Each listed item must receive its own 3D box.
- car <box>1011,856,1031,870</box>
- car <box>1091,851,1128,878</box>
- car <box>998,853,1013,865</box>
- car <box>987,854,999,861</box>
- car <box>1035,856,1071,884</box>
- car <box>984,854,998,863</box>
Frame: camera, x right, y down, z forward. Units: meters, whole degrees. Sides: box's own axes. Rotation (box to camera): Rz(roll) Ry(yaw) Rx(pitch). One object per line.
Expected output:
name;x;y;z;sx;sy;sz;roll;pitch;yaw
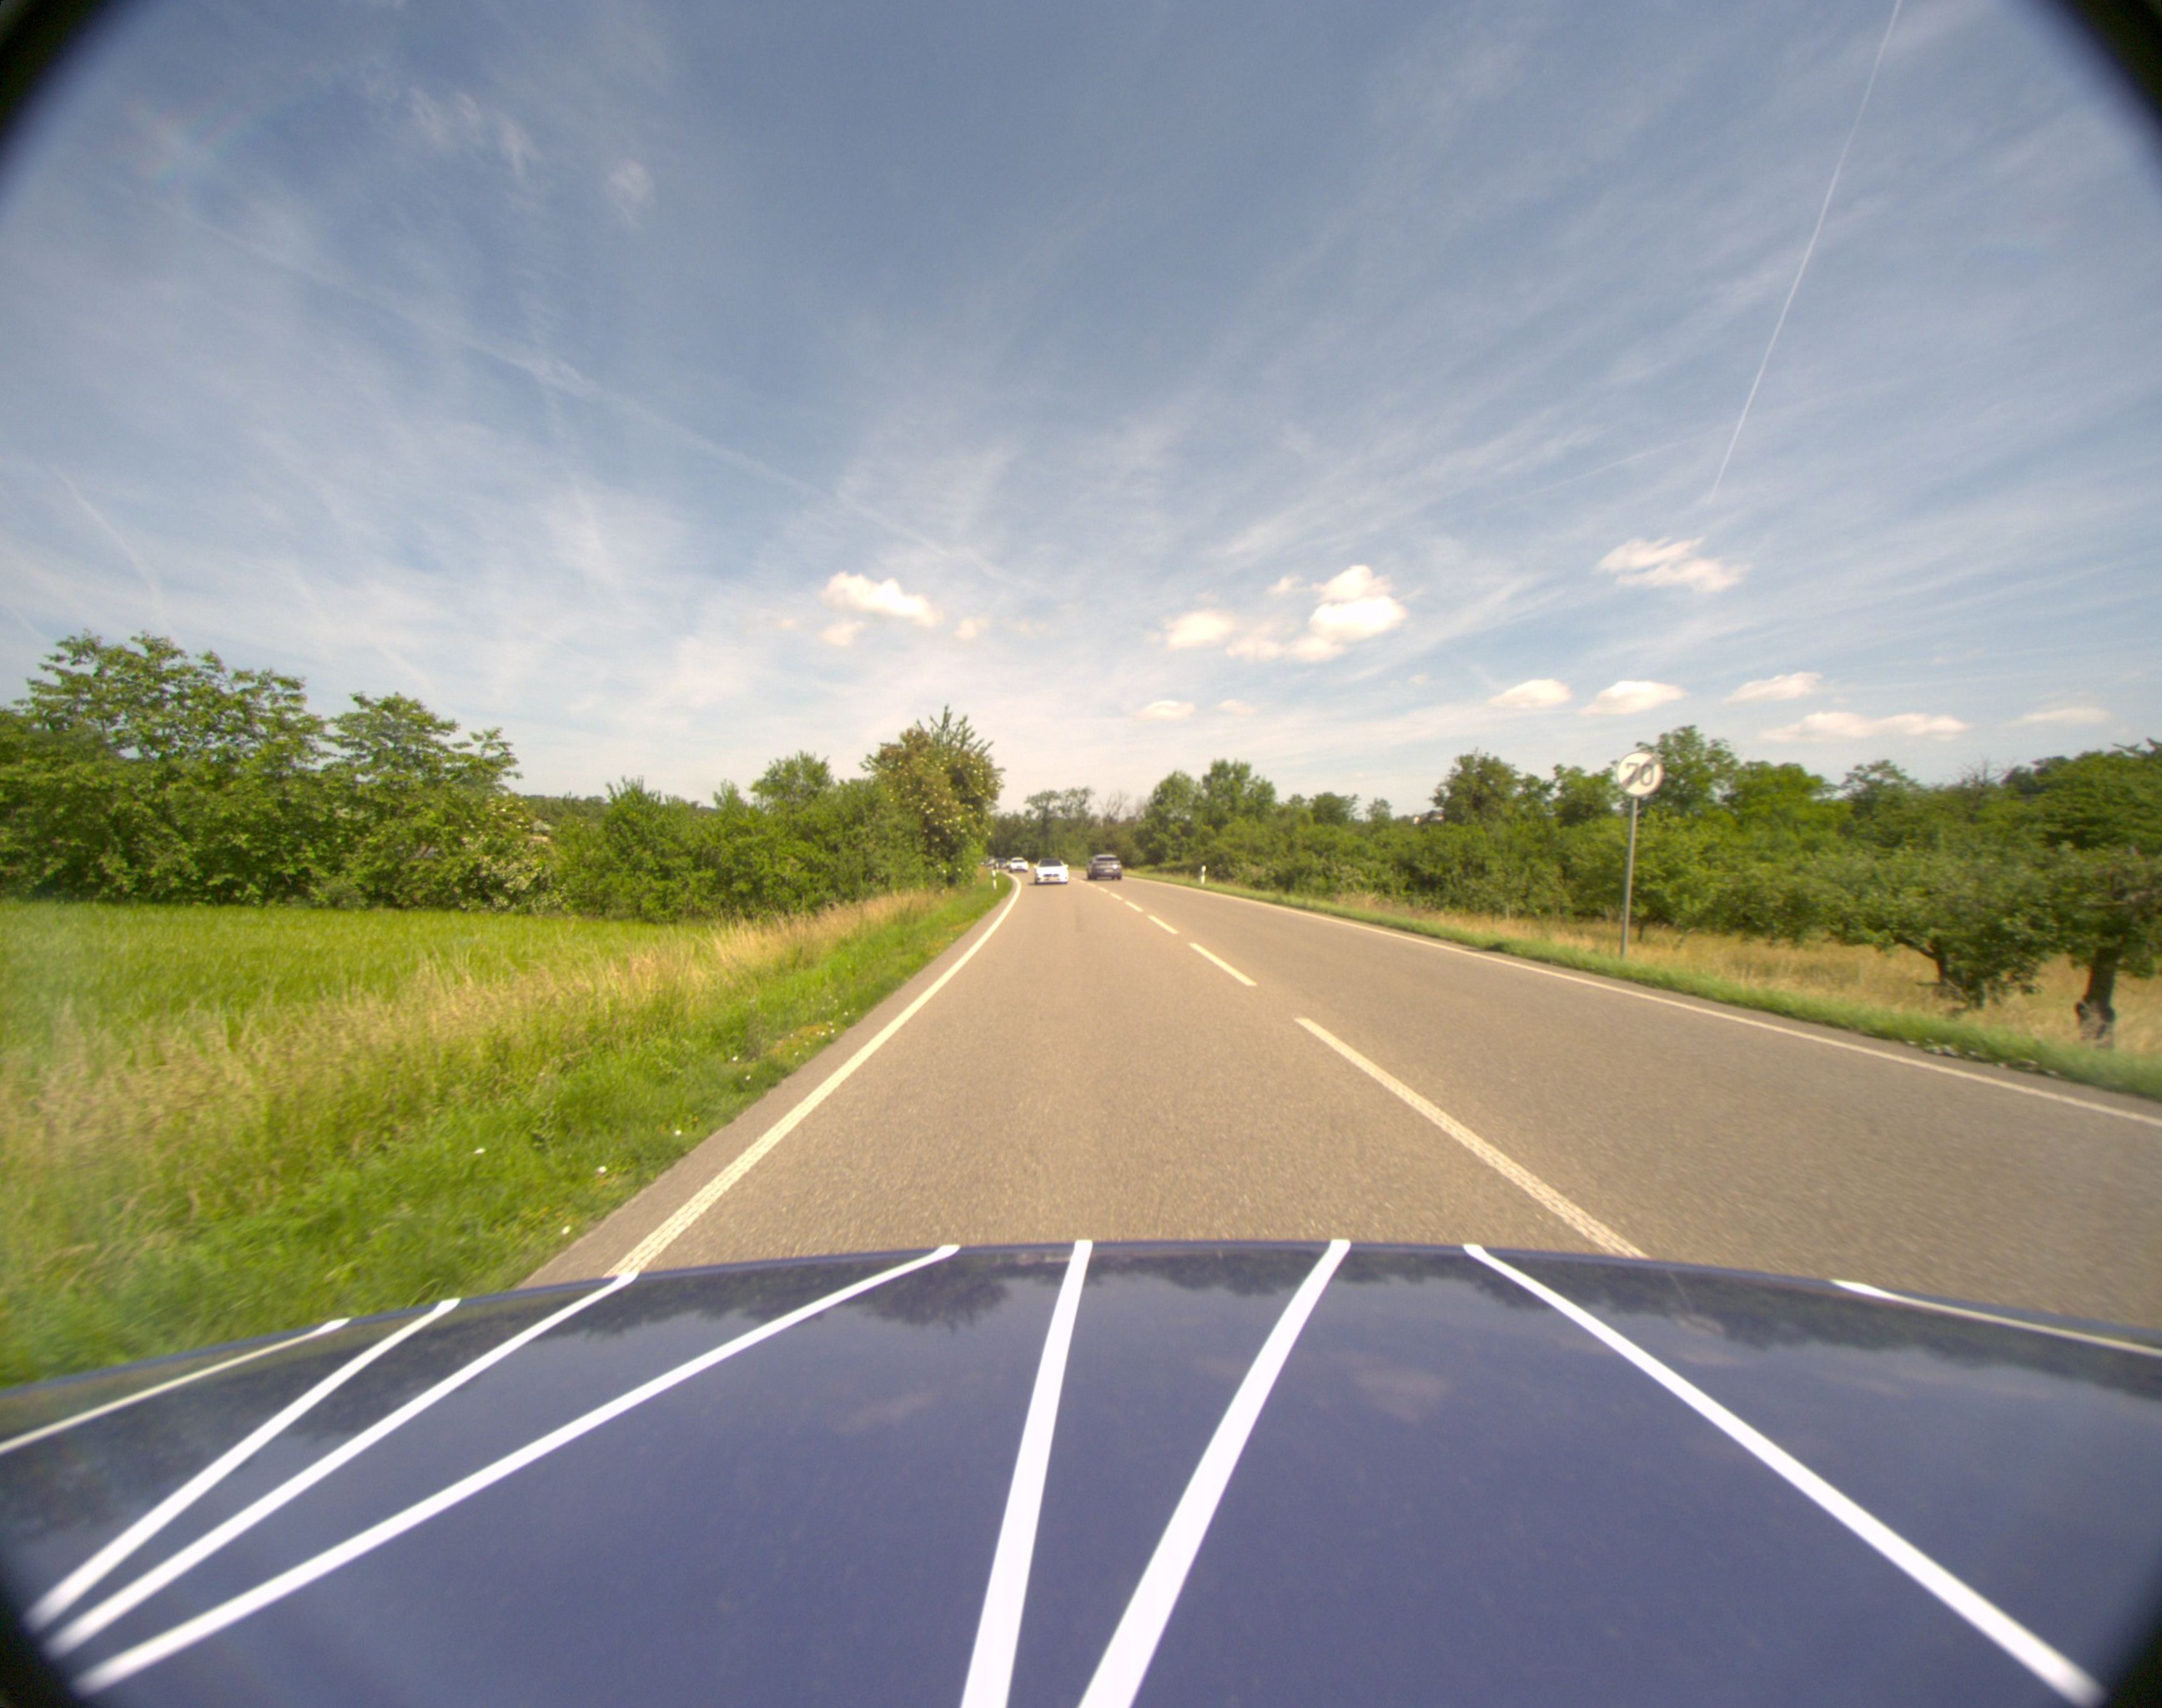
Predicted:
car;-6.275;0.925;79.269;1.930;1.441;3.998;-2;0;-6
car;1.773;0.669;48.447;1.930;1.616;3.998;-1;0;-4
car;-10.442;0.719;104.959;1.931;1.442;4.072;1;2;-9
car;-16.768;0.660;144.876;1.931;1.441;3.995;1;0;-12
car;-1.674;0.899;44.168;1.930;1.441;4.533;-2;0;-4
car;-14.965;0.770;126.673;1.931;1.441;3.996;1;0;-11
